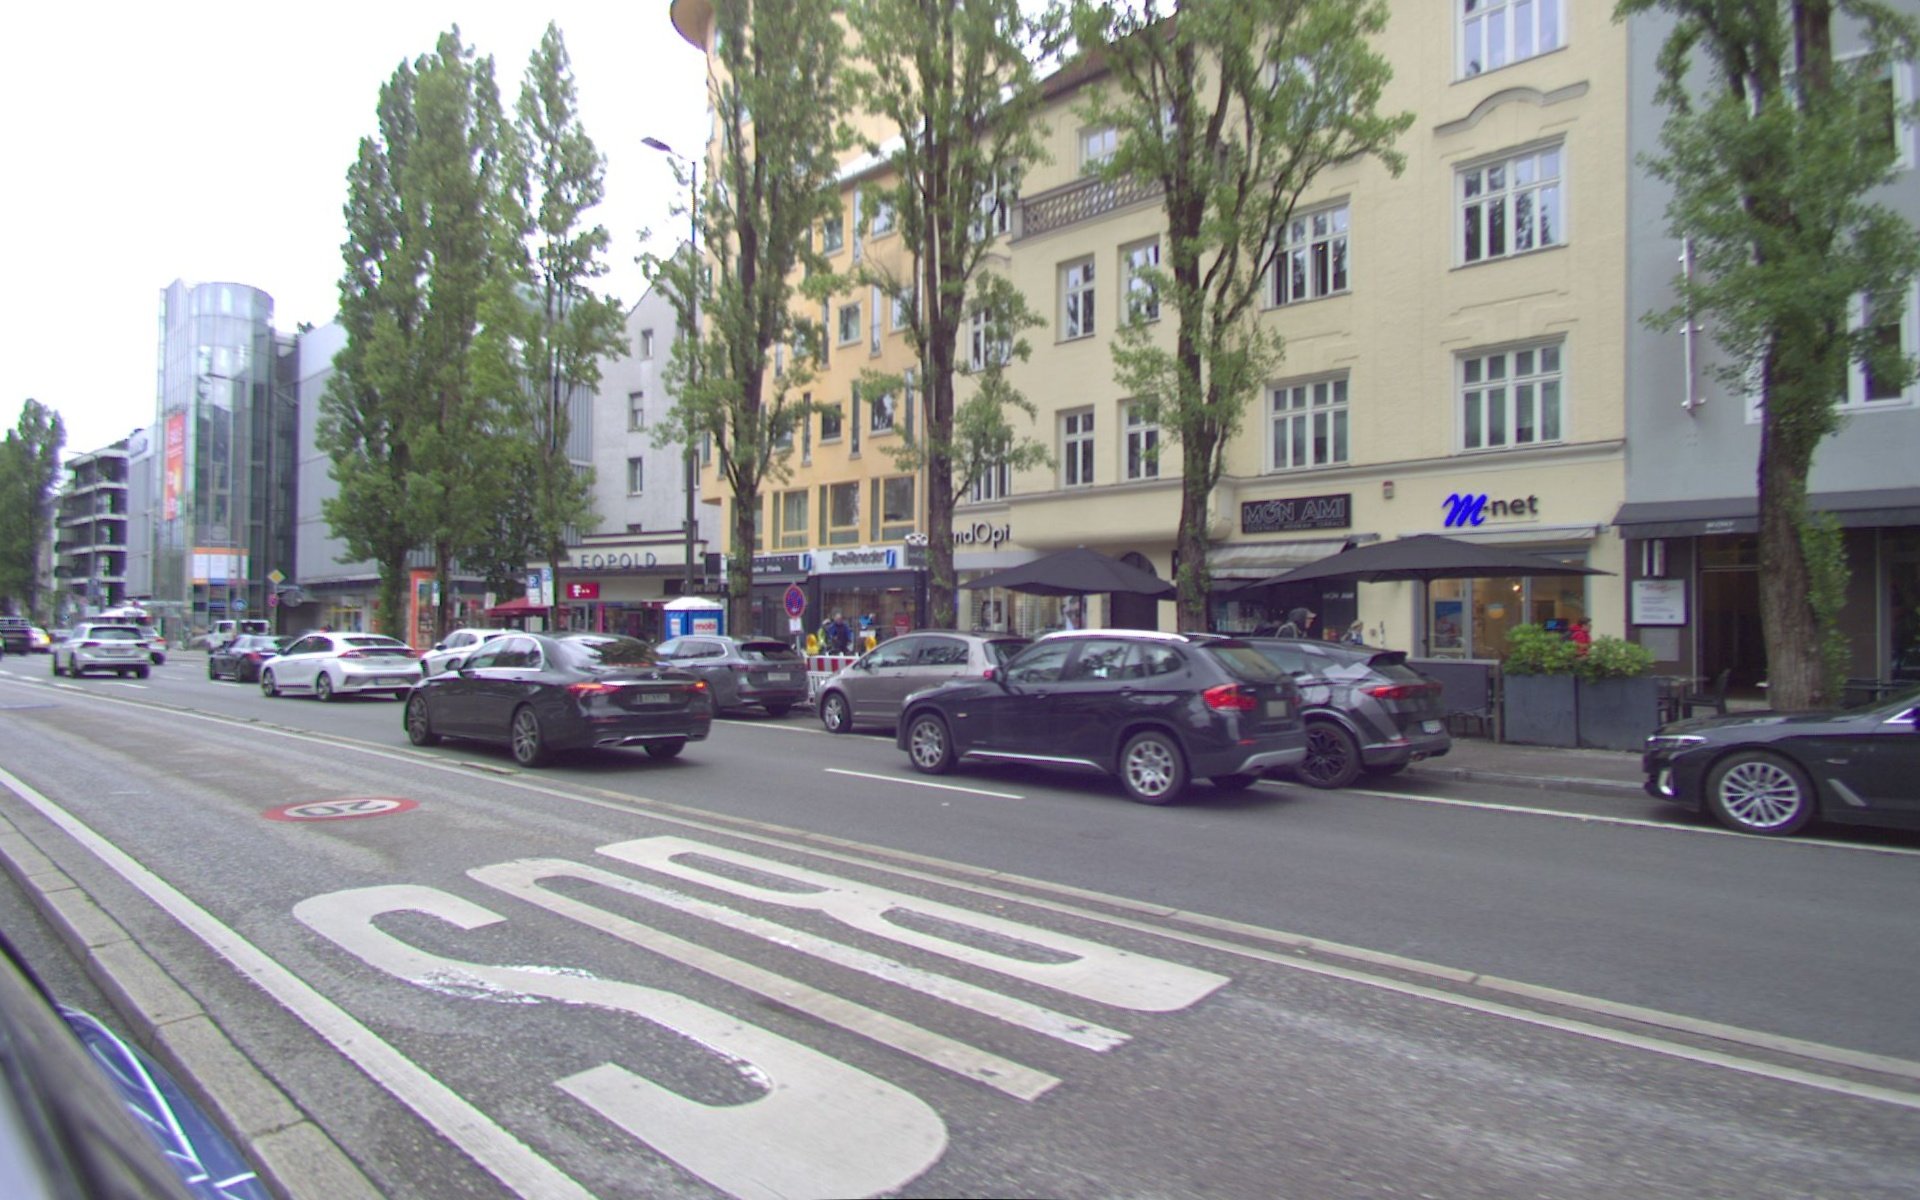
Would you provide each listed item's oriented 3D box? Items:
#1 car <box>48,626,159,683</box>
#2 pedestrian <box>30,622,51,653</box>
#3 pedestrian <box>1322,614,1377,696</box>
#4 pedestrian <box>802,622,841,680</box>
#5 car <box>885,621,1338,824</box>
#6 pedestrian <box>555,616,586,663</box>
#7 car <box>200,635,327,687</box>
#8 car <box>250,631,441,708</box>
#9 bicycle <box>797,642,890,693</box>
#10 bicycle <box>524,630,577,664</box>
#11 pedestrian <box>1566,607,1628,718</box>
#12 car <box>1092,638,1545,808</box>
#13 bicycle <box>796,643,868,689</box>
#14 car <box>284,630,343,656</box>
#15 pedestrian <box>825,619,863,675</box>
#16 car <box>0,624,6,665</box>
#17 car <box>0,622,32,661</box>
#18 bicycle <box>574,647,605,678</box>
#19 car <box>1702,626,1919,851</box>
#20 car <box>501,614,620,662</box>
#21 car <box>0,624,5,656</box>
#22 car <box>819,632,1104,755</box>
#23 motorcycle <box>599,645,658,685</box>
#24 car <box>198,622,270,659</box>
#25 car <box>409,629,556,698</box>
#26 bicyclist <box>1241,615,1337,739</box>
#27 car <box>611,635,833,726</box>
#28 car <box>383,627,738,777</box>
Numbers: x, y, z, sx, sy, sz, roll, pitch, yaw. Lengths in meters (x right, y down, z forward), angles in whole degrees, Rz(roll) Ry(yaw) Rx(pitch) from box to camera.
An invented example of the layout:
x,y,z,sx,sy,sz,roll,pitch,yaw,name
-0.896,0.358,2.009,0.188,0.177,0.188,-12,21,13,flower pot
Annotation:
x,y,z,sx,sy,sz,roll,pitch,yaw,name
-26.465,1.642,31.223,4.461,1.655,1.919,-1,-3,41,car
-55.883,2.273,61.510,0.845,1.881,0.779,-1,-3,37,pedestrian
7.703,1.082,20.022,0.816,1.573,0.627,-2,-3,43,pedestrian
-4.066,1.473,29.710,0.763,1.638,0.831,0,0,39,pedestrian
1.375,1.043,10.213,4.210,1.576,1.829,0,-2,42,car
-16.255,1.659,42.240,0.831,1.913,0.850,-1,-3,35,pedestrian
-20.939,1.784,30.359,4.534,1.445,1.920,-1,-3,39,car
-13.481,1.461,22.145,4.284,1.505,1.923,-1,-3,34,car
-2.635,1.529,23.036,2.097,1.109,0.506,3,-3,-36,bicycle
-16.827,1.921,41.549,2.297,1.318,0.839,-1,-3,34,bicycle
10.419,1.002,16.557,0.755,1.760,0.533,-2,-2,41,pedestrian
3.809,1.188,11.216,4.319,1.494,1.972,-2,-4,42,car
-3.042,1.571,24.272,0.620,1.049,1.993,-1,-3,31,bicycle
-36.746,2.431,57.507,1.900,1.450,4.510,3,-3,-45,car
-3.498,1.398,30.508,0.763,1.638,0.831,0,0,39,pedestrian
-42.799,1.880,43.429,4.527,1.724,1.843,-1,-3,36,car
-48.935,2.084,51.380,5.708,1.878,1.973,-1,-4,41,car
-12.256,2.064,33.430,1.478,0.983,0.289,-2,-3,42,bicycle
8.415,1.003,7.163,4.891,1.608,1.971,-2,-4,43,car
-23.001,2.218,58.371,5.968,2.625,2.181,2,-3,-40,car
-62.154,2.465,63.421,5.303,2.029,1.978,-1,-3,32,car
-0.068,1.253,14.746,3.999,1.530,1.785,-2,-3,42,car
-9.718,1.884,29.717,0.483,1.044,2.048,0,0,21,motorcycle
-41.706,2.309,58.111,5.105,2.029,1.974,-1,-3,38,car
-12.464,1.580,26.295,4.381,1.642,1.971,-2,-3,43,car
4.385,1.005,13.522,1.106,1.593,0.491,-2,-3,41,bicyclist
-4.543,1.425,19.031,4.293,1.505,1.919,-1,-3,41,car
-4.911,1.074,12.090,4.770,1.443,1.972,-2,-4,41,car
